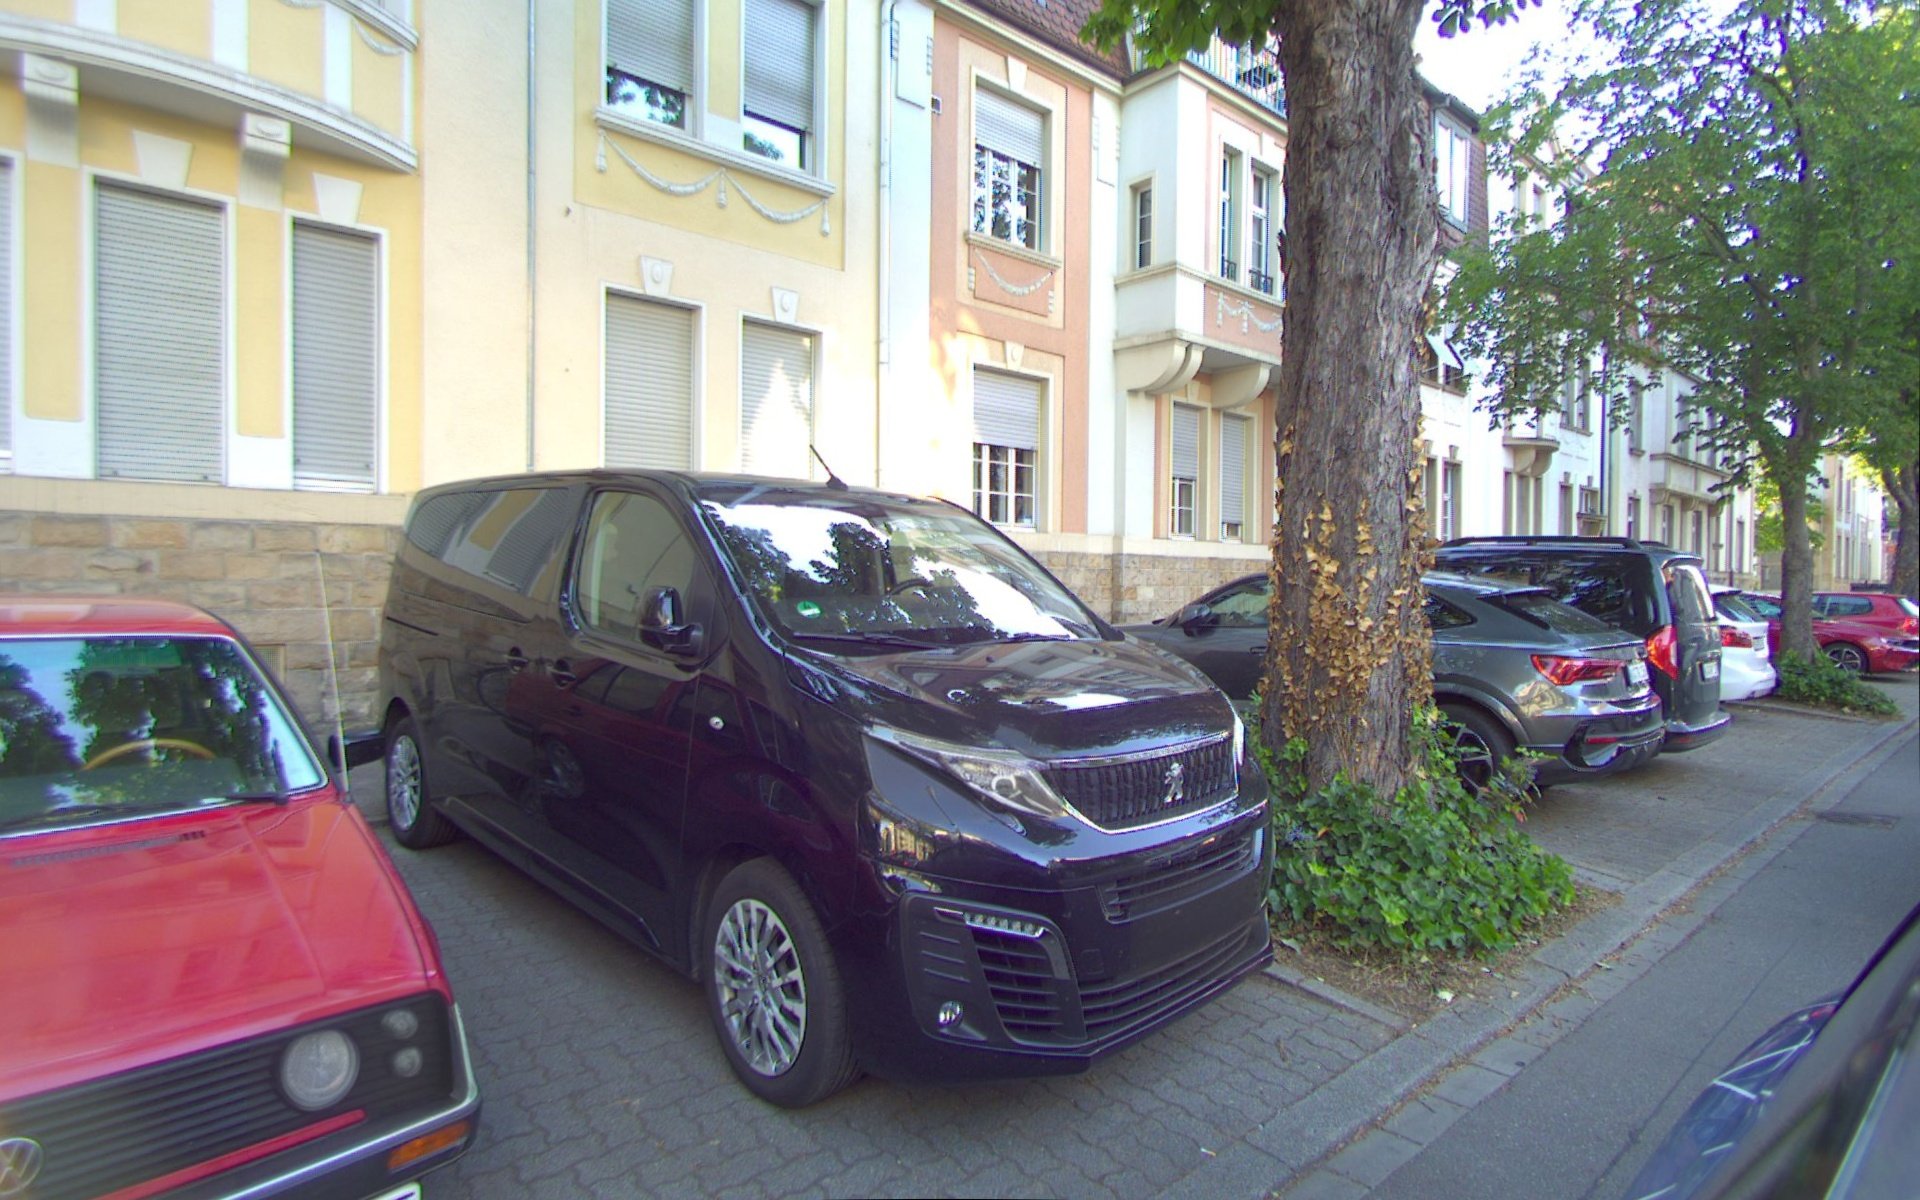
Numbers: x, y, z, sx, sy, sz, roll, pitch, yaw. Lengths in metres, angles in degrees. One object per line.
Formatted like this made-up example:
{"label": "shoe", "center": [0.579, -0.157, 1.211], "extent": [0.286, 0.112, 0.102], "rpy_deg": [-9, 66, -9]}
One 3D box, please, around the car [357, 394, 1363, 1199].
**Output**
{"label": "car", "center": [-0.989, 0.344, 4.526], "extent": [1.851, 1.846, 4.825], "rpy_deg": [-1, 4, -44]}

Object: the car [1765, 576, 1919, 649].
{"label": "car", "center": [21.624, 0.267, 24.087], "extent": [1.511, 1.584, 3.621], "rpy_deg": [0, 2, -40]}

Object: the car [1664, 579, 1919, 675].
{"label": "car", "center": [14.938, 0.407, 18.057], "extent": [1.511, 1.420, 3.621], "rpy_deg": [0, 3, -40]}

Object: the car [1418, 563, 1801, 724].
{"label": "car", "center": [7.706, 0.393, 12.227], "extent": [1.513, 1.569, 3.616], "rpy_deg": [-1, 3, -45]}

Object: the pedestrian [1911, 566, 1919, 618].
{"label": "pedestrian", "center": [38.204, -0.296, 39.620], "extent": [0.913, 2.038, 1.190], "rpy_deg": [1, 2, -35]}

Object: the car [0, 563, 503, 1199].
{"label": "car", "center": [-2.808, 0.611, 2.970], "extent": [1.532, 1.336, 3.917], "rpy_deg": [-1, 4, -43]}

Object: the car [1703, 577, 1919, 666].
{"label": "car", "center": [16.866, 0.366, 19.664], "extent": [1.511, 1.482, 3.621], "rpy_deg": [0, 3, -40]}

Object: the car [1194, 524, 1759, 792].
{"label": "car", "center": [4.331, 0.276, 9.008], "extent": [1.569, 1.849, 4.165], "rpy_deg": [-1, 4, -44]}

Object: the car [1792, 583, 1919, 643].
{"label": "car", "center": [24.033, 0.329, 26.201], "extent": [1.511, 1.420, 3.621], "rpy_deg": [0, 3, -40]}

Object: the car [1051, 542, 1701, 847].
{"label": "car", "center": [2.781, 0.414, 7.519], "extent": [1.569, 1.611, 4.165], "rpy_deg": [-1, 4, -44]}

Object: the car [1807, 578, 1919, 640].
{"label": "car", "center": [25.954, 0.248, 27.997], "extent": [1.511, 1.584, 3.621], "rpy_deg": [0, 2, -40]}
